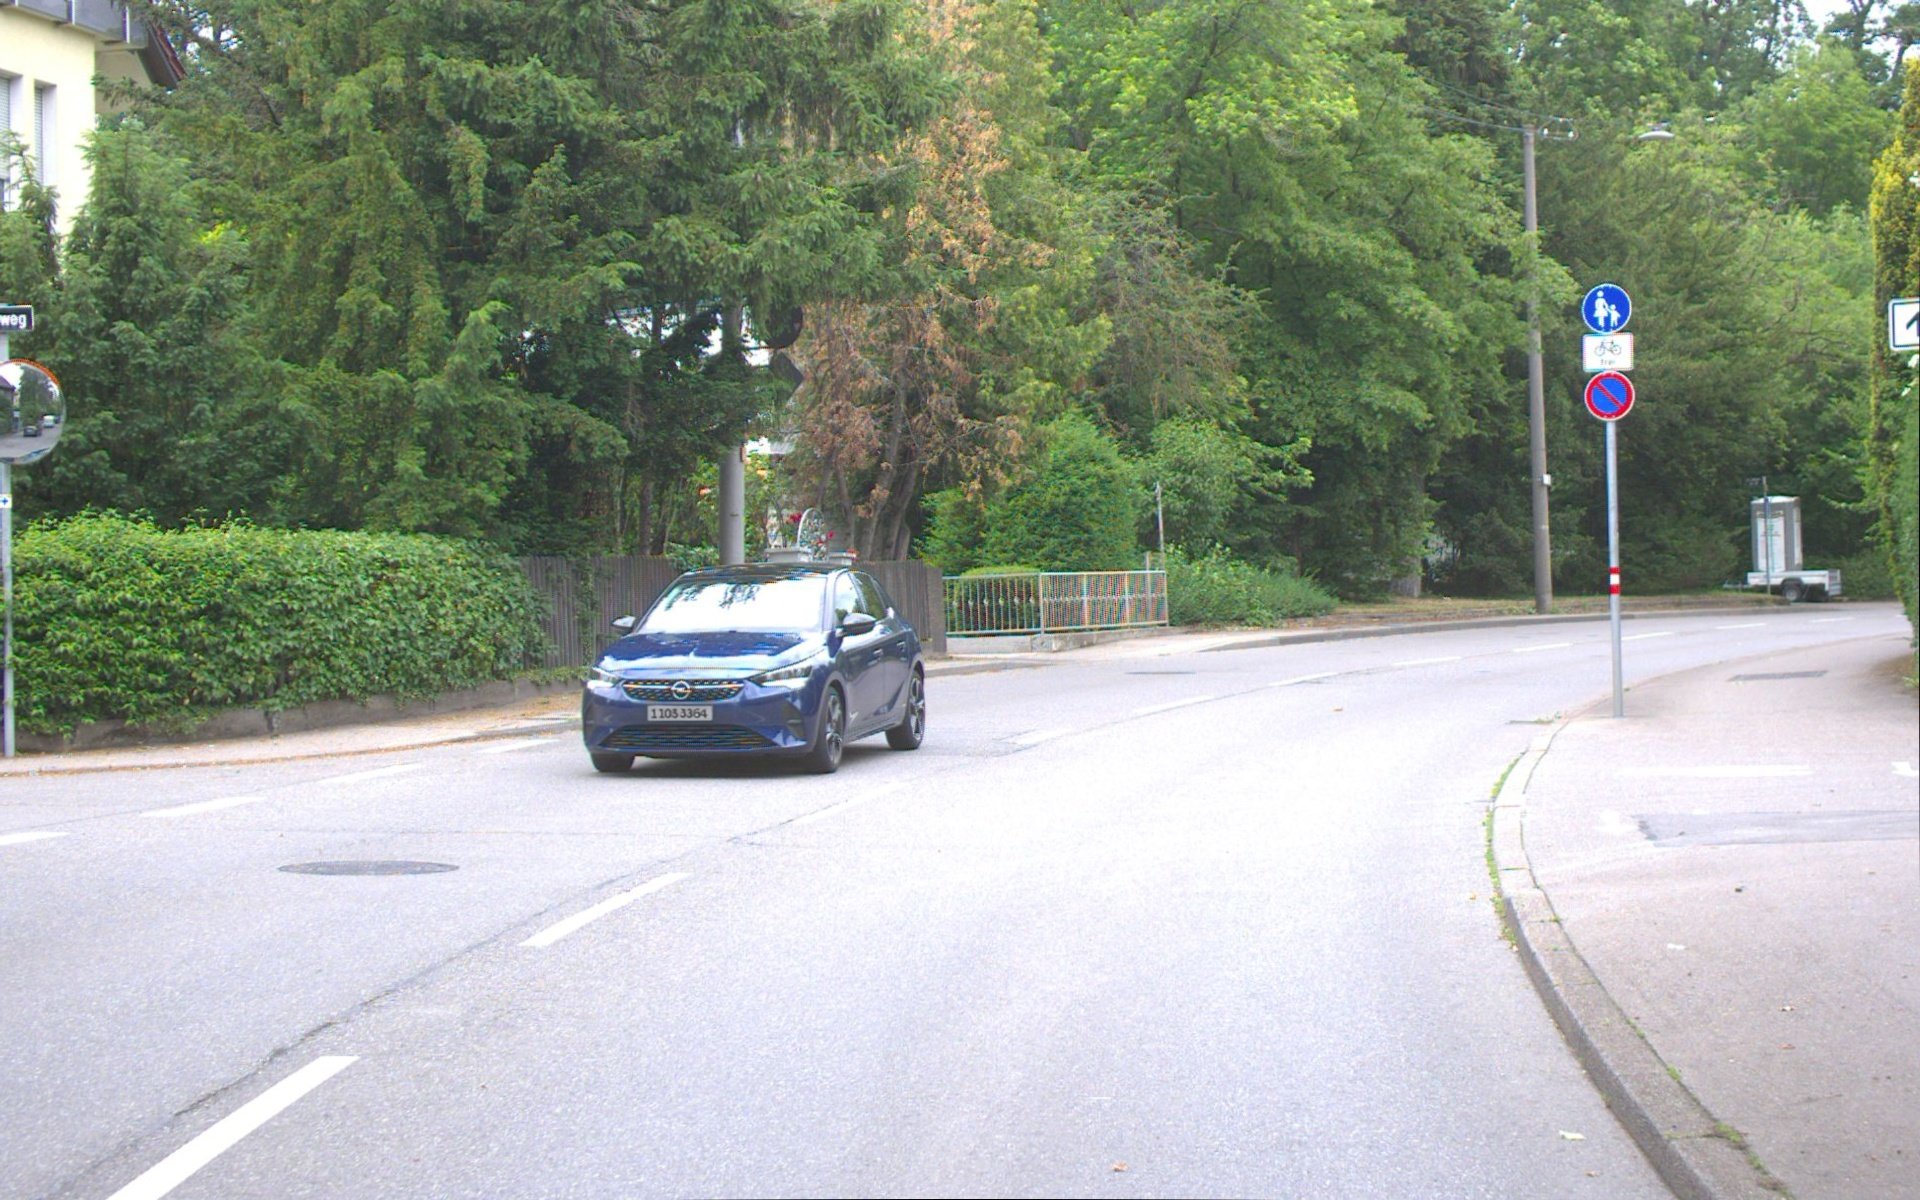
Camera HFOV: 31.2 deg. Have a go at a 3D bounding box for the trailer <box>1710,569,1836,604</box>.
[{"bbox_3d":[20.960,-0.350,88.597,2.958,0.826,1.474,-2,0,22],"label":"trailer"}]

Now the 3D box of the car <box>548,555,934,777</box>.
[{"bbox_3d":[-1.473,0.414,24.707,1.758,1.434,4.091,-1,1,11],"label":"car"}]
